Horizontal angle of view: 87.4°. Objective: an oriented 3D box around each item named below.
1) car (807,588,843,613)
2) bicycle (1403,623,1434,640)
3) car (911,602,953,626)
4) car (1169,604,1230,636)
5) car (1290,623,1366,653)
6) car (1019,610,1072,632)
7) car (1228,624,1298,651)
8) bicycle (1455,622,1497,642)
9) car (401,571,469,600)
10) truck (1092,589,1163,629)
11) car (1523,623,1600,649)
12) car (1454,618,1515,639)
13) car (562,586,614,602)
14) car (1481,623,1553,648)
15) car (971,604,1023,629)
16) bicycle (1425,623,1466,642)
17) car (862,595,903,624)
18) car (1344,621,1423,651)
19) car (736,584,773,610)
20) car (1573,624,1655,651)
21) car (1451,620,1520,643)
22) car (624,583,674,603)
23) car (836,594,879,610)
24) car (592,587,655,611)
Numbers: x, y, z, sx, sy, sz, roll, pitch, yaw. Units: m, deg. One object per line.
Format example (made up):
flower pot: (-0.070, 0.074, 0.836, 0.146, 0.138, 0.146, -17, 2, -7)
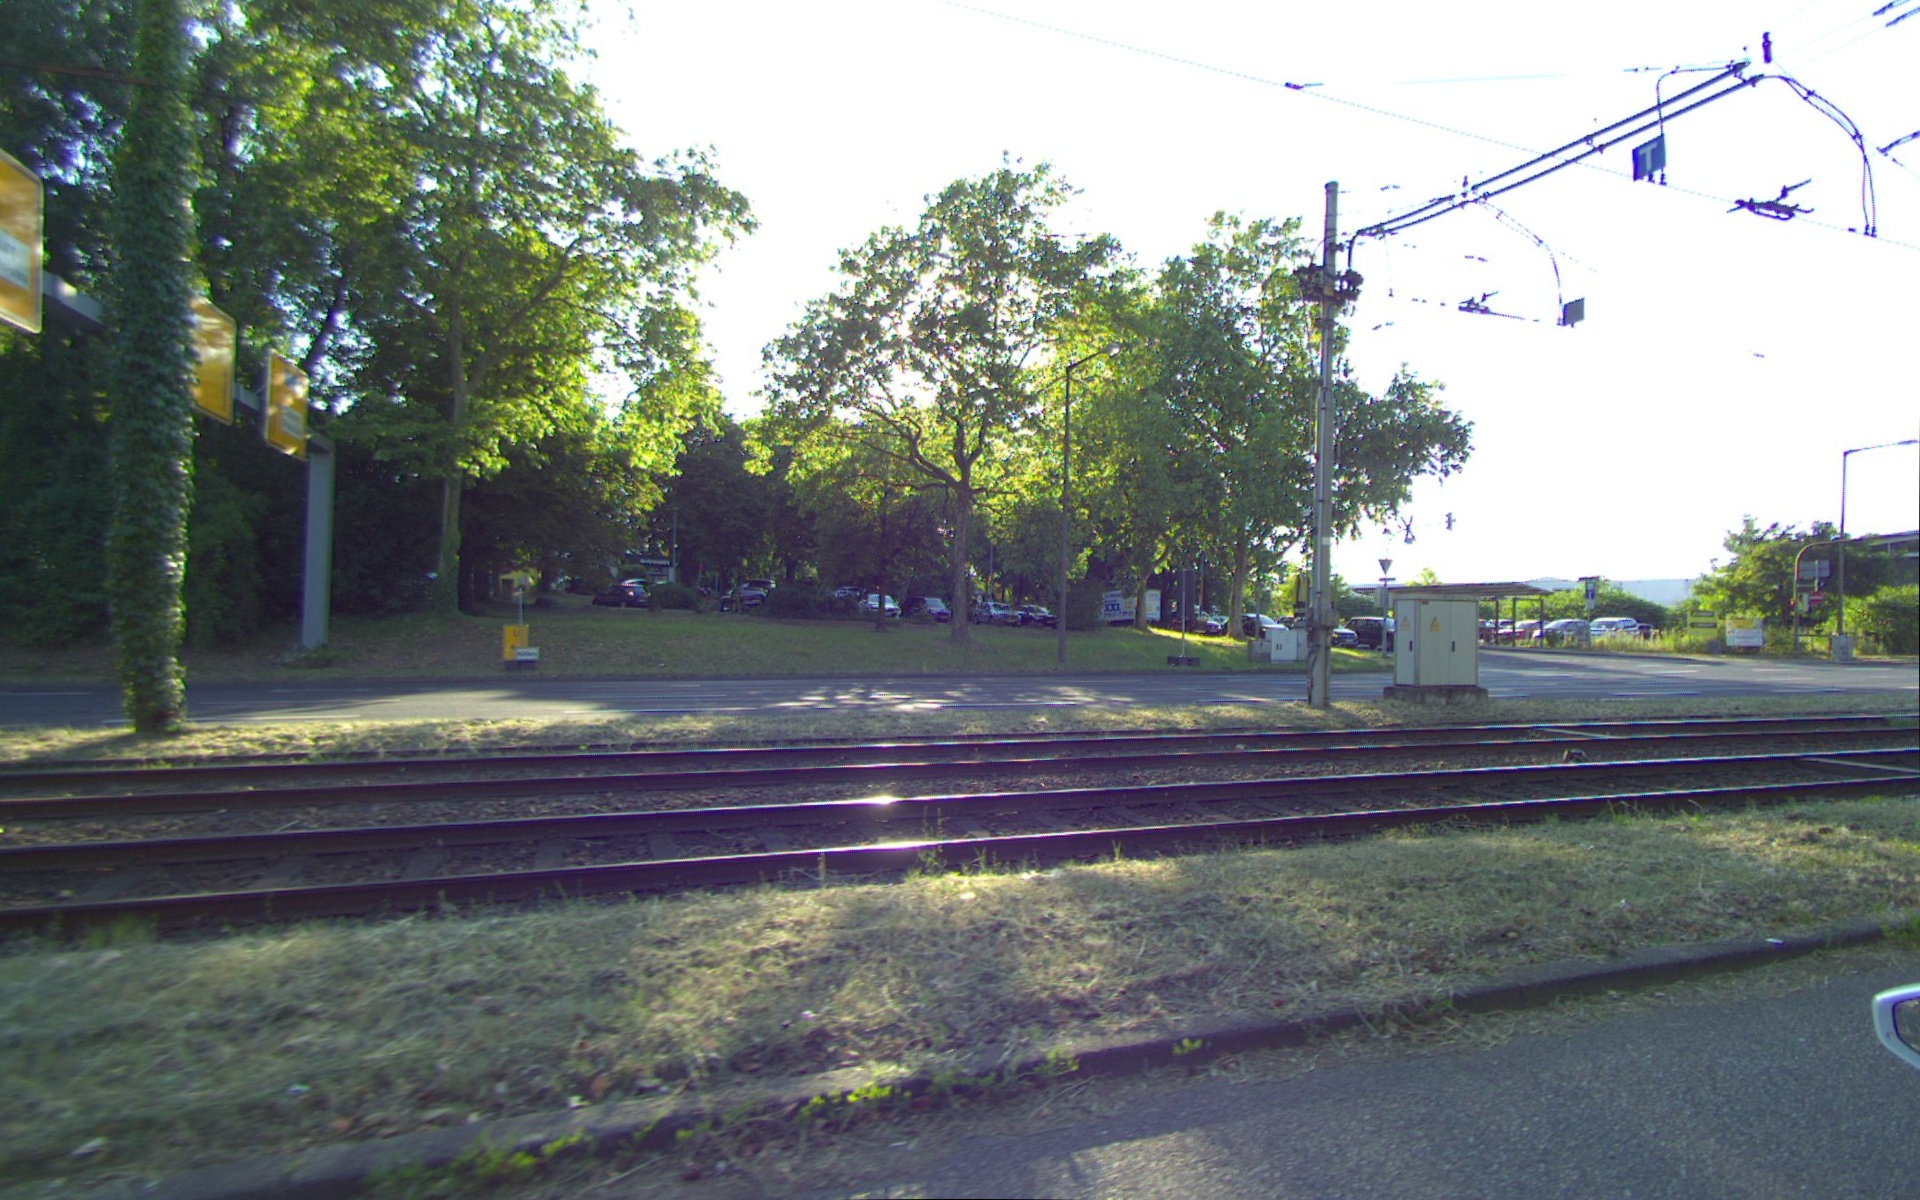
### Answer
car: (-7.674, 0.033, 57.002, 1.556, 1.350, 3.511, 1, 0, -15)
bicycle: (28.994, 1.998, 63.551, 2.167, 1.079, 0.662, 1, 0, -31)
car: (-2.018, 0.951, 70.346, 1.893, 1.550, 3.984, 1, 0, -18)
car: (14.963, 1.234, 63.011, 1.968, 1.884, 3.985, 1, -1, -17)
car: (18.976, 1.957, 51.982, 1.754, 1.405, 4.057, 1, 0, -14)
car: (5.221, 1.263, 61.779, 1.649, 1.277, 3.980, 1, 0, -21)
car: (17.198, 2.117, 57.225, 1.756, 1.405, 4.051, 1, 0, -19)
bicycle: (30.268, 1.864, 58.951, 2.150, 1.079, 0.668, 1, 0, -3)
car: (-25.956, -0.683, 49.791, 1.494, 1.350, 3.522, 1, 0, 0)
truck: (14.816, 0.771, 89.599, 2.692, 3.433, 8.281, 1, 0, -19)
car: (36.247, 2.172, 60.559, 3.937, 1.461, 1.840, 1, 0, -18)
car: (39.652, 2.164, 75.962, 3.937, 1.461, 1.840, 1, 0, -18)
car: (-27.881, -0.450, 75.296, 3.481, 1.135, 1.355, 1, 0, -31)
car: (35.384, 2.234, 63.840, 3.937, 1.461, 1.840, 1, 0, -18)
car: (2.193, 0.967, 60.675, 1.649, 1.390, 3.980, 1, 0, -21)
bicycle: (29.873, 2.009, 61.802, 2.148, 1.079, 0.668, 1, 0, 10)
car: (-4.478, 0.523, 57.653, 1.828, 1.550, 3.991, 1, 0, -12)
car: (22.150, 1.847, 52.708, 1.754, 1.405, 4.057, 1, 0, -14)
car: (-11.325, -0.133, 55.225, 1.501, 1.350, 3.506, 1, 0, -19)
car: (37.437, 2.152, 57.520, 3.937, 1.461, 1.840, 1, 0, -18)
car: (34.864, 2.100, 66.693, 3.937, 1.461, 1.840, 1, 0, -18)
car: (-24.275, -0.528, 78.464, 3.481, 1.480, 1.355, 1, 0, -31)
car: (-8.236, 0.201, 81.005, 3.231, 1.212, 1.353, 1, 0, -35)
car: (-20.122, -0.066, 60.032, 3.455, 1.350, 1.523, 1, 0, 25)
